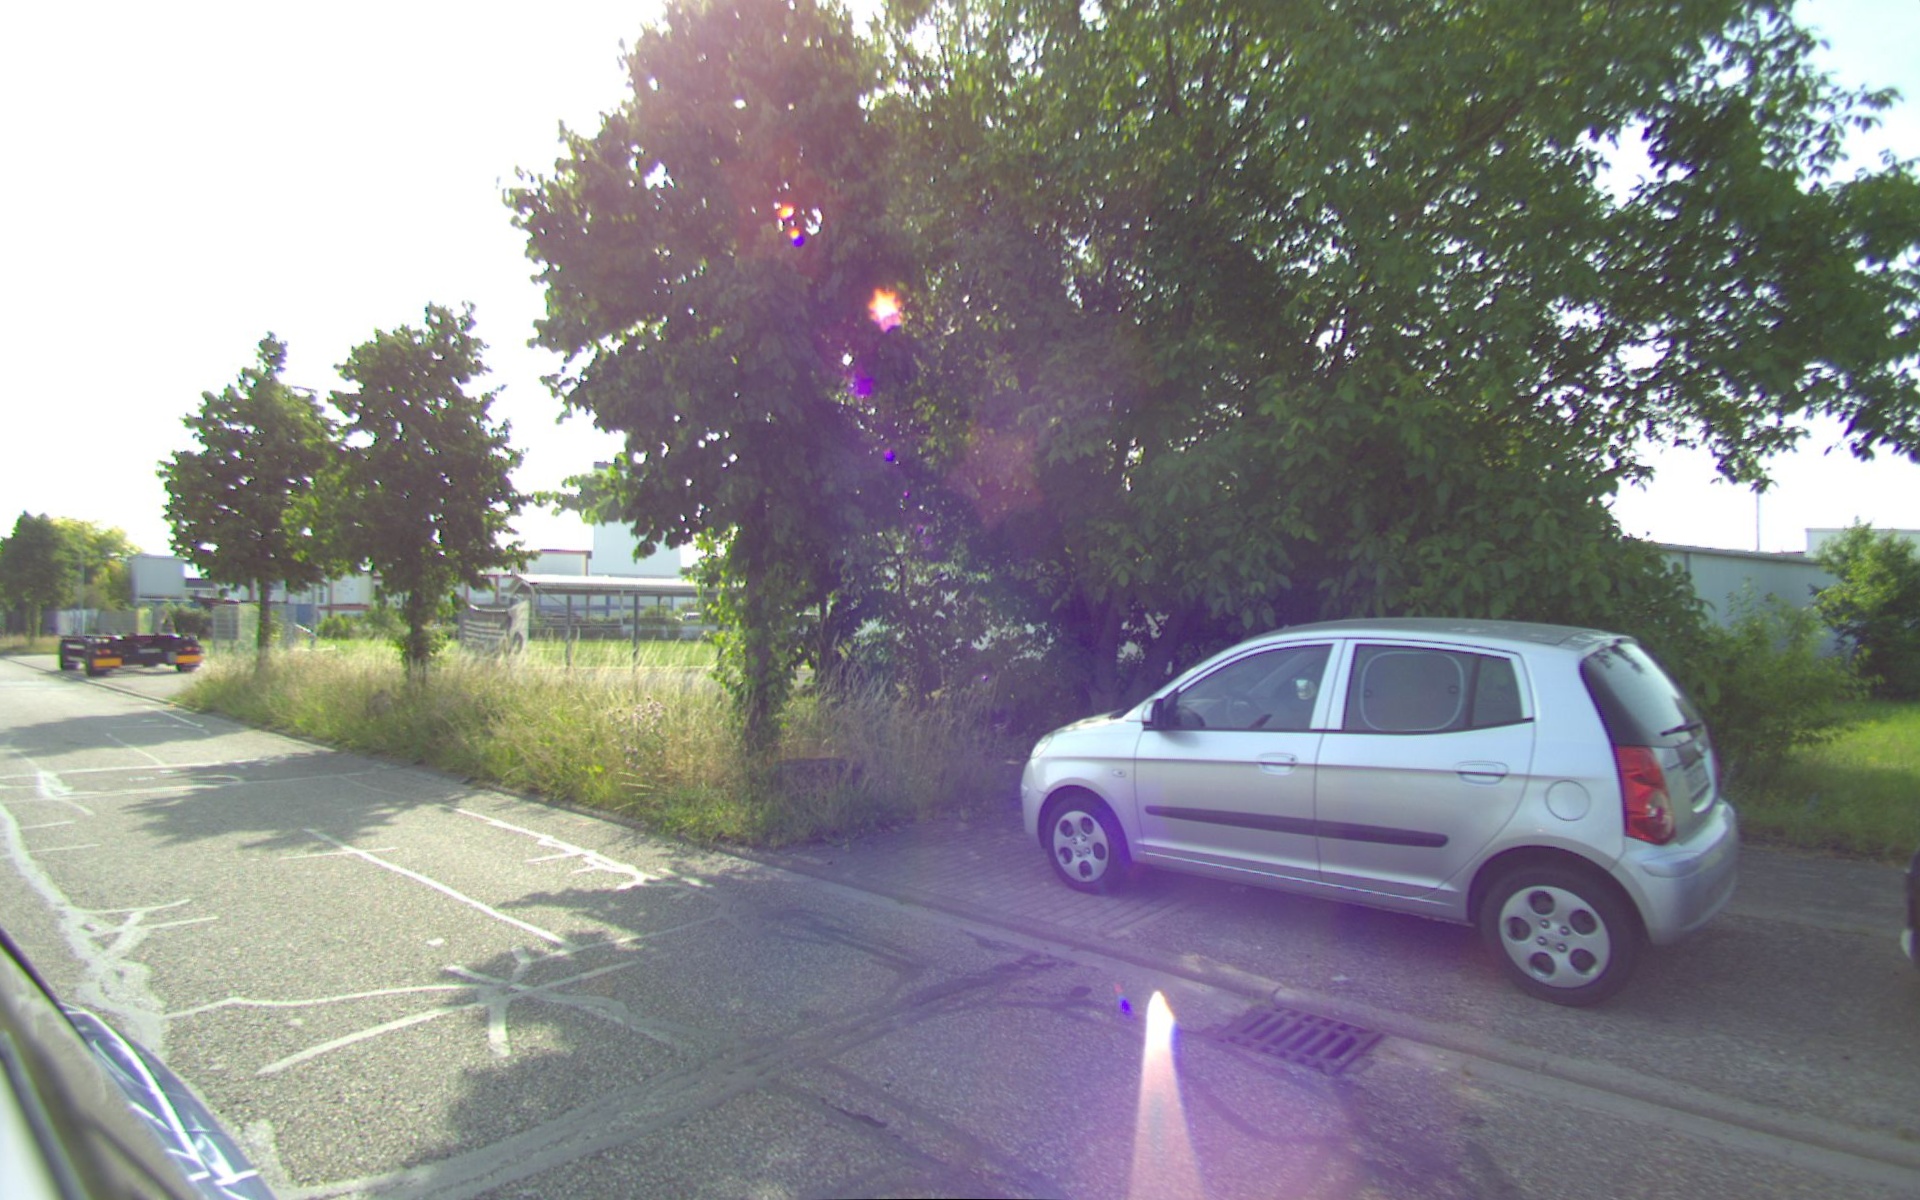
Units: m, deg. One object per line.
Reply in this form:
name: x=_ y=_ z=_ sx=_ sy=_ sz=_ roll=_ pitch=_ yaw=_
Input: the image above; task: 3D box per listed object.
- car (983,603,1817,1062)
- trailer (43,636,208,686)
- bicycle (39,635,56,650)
car: x=1.991 y=0.822 z=5.303 sx=3.690 sy=1.550 sz=1.548 roll=-1 pitch=-1 yaw=45
trailer: x=-25.737 y=1.759 z=30.998 sx=9.360 sy=1.193 sz=2.555 roll=-1 pitch=-1 yaw=42
bicycle: x=-61.434 y=2.869 z=68.127 sx=2.451 sy=0.980 sz=0.556 roll=-2 pitch=-3 yaw=42
